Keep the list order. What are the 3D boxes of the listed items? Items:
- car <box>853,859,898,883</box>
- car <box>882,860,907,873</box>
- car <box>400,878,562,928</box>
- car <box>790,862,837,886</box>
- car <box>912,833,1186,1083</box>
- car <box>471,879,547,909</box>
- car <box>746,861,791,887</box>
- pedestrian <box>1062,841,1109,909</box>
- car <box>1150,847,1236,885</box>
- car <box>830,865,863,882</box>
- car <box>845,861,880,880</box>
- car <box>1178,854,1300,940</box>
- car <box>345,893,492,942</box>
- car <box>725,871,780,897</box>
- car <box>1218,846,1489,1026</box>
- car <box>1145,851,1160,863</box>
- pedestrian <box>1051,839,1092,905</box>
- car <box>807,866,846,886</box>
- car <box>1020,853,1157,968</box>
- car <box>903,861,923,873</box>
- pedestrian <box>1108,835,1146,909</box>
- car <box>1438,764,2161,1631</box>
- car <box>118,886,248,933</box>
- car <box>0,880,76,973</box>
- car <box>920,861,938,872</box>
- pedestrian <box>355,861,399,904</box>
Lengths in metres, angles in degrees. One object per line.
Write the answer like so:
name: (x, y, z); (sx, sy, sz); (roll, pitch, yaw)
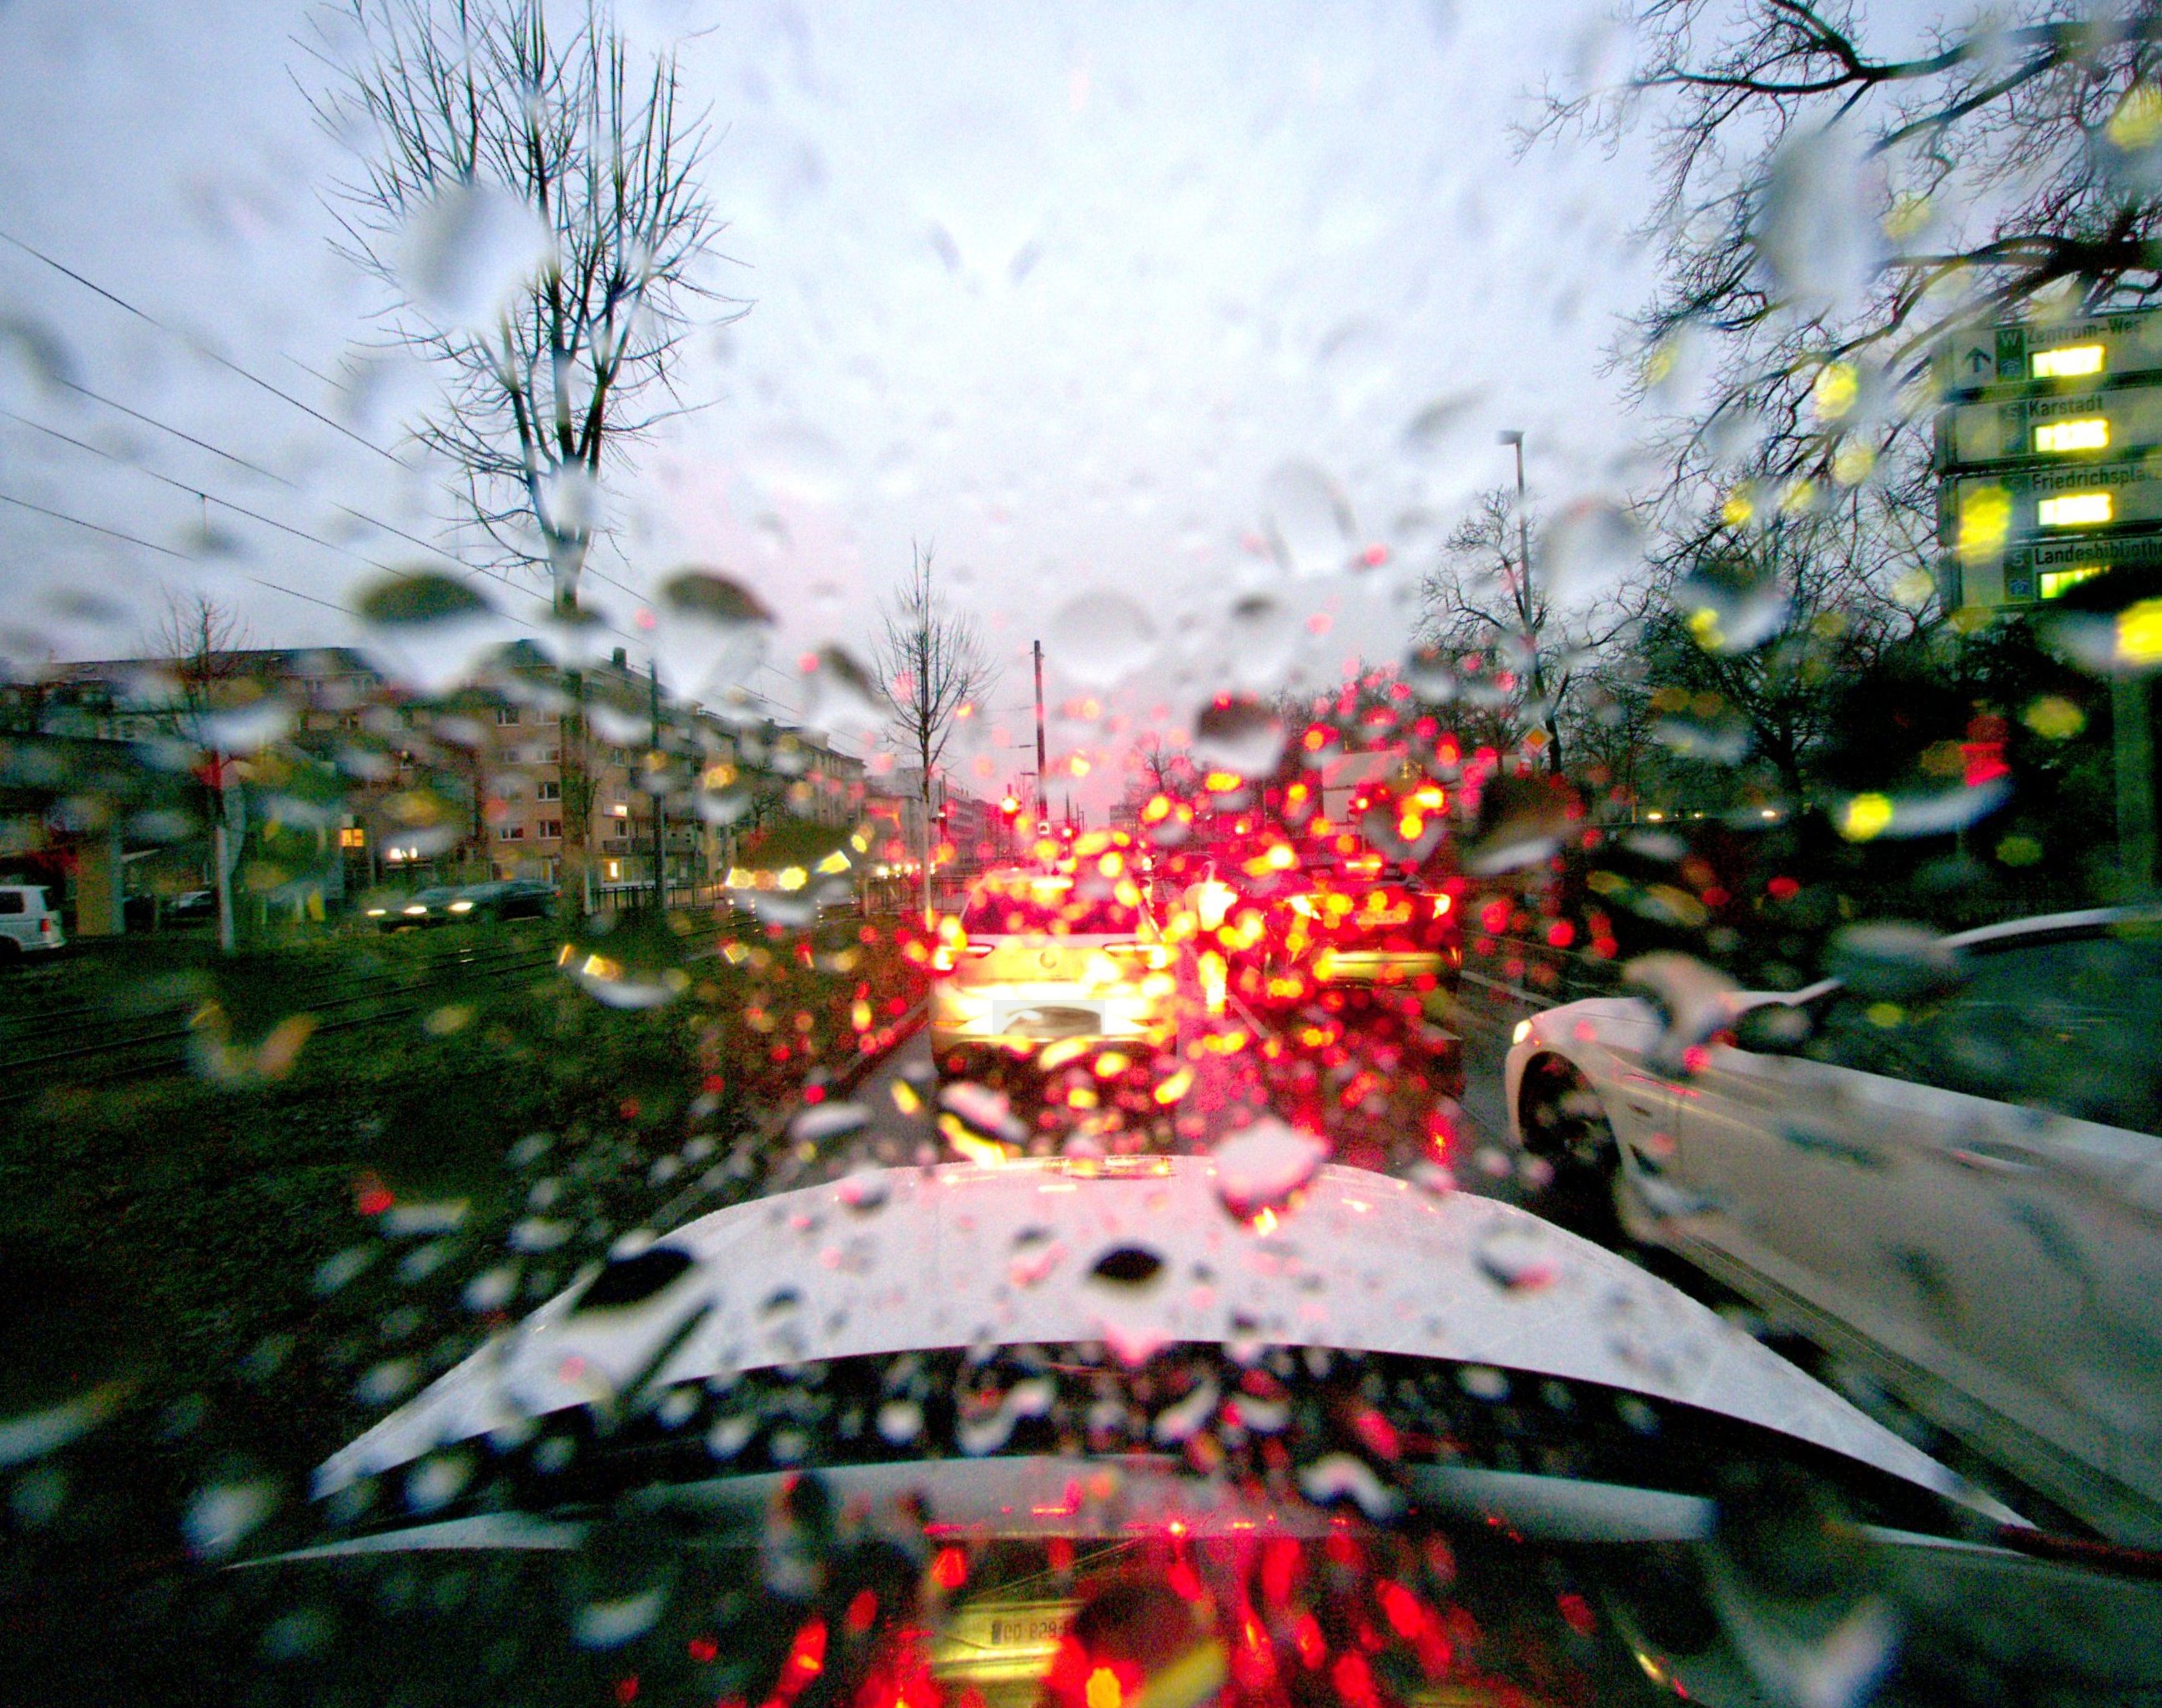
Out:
car: (-14.006, 1.121, 55.685); (1.986, 1.602, 4.001); (0, 0, 1)
car: (-23.113, 1.570, 101.093); (1.942, 1.602, 4.002); (0, 0, 2)
car: (-18.894, 1.495, 25.930); (1.852, 1.332, 4.317); (0, 0, 2)
car: (-18.936, 1.371, 57.779); (1.860, 1.577, 4.001); (-2, 0, 2)
car: (-0.164, 0.639, 7.070); (1.687, 1.533, 4.001); (-1, 0, 1)
car: (-38.558, 2.697, 54.999); (3.743, 1.942, 1.838); (0, 0, -6)
car: (-24.956, 1.586, 65.150); (1.986, 2.014, 4.001); (0, 0, 1)
pedestrian: (0.147, 0.638, 24.915); (0.949, 2.013, 1.014); (-2, 0, 36)
car: (5.939, 0.604, 43.478); (2.011, 1.943, 4.233); (0, 0, -44)
car: (-22.896, 1.908, 79.551); (1.942, 1.602, 4.002); (0, 0, 2)
car: (-19.422, 1.439, 72.533); (1.942, 1.602, 4.002); (0, 0, 2)
car: (2.858, 0.723, 15.454); (1.738, 1.433, 3.733); (0, 0, 2)
car: (-22.852, 2.145, 28.299); (1.854, 1.332, 3.997); (-2, 0, -2)
car: (-18.789, 1.679, 46.731); (1.688, 1.277, 4.142); (-2, 0, -4)
car: (2.690, 0.715, 9.023); (1.793, 1.511, 3.897); (-2, 0, 2)
car: (9.010, 0.417, 102.803); (1.731, 1.419, 3.705); (-2, 0, 2)
pedestrian: (-0.319, 0.568, 26.059); (0.962, 2.013, 1.001); (-2, 0, -21)
car: (-21.880, 1.866, 70.047); (1.942, 1.602, 4.002); (0, 0, 2)
car: (0.183, 0.766, 13.306); (1.792, 1.466, 4.588); (-2, 0, 2)
car: (-23.840, 1.797, 115.752); (1.942, 1.602, 4.002); (0, 0, 2)
pedestrian: (1.308, 0.505, 22.994); (0.954, 2.013, 1.009); (-2, 0, 4)
car: (2.836, 0.582, 1.719); (1.857, 1.556, 4.935); (-2, 0, -2)
car: (-43.083, 2.629, 39.210); (1.886, 2.014, 3.876); (0, 0, 2)
car: (-28.641, 1.831, 19.932); (4.859, 2.244, 1.975); (0, -1, -44)
car: (-23.308, 1.865, 124.907); (1.942, 1.602, 4.002); (0, 0, 2)
pedestrian: (-33.940, 1.367, 39.269); (1.274, 2.013, 1.000); (-2, 0, -22)
